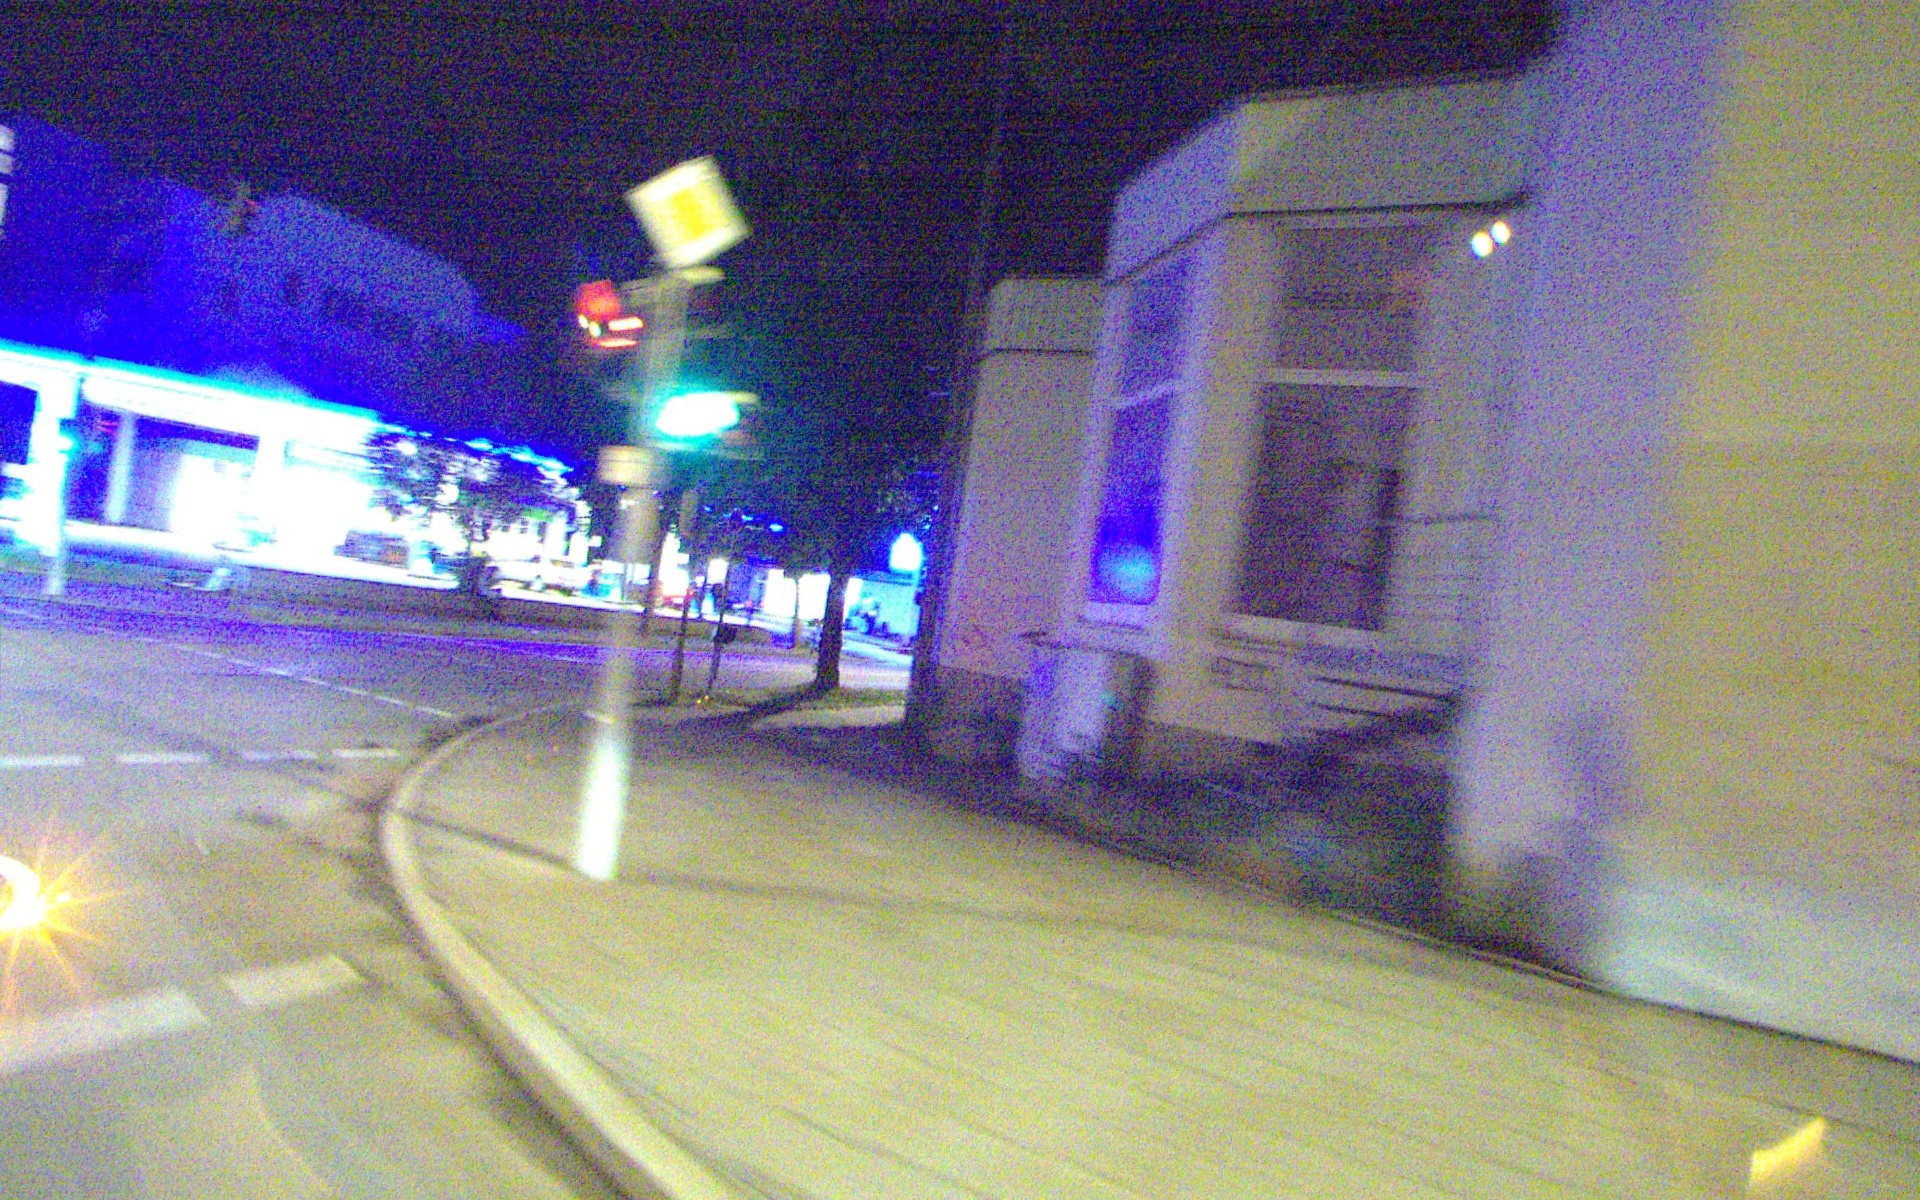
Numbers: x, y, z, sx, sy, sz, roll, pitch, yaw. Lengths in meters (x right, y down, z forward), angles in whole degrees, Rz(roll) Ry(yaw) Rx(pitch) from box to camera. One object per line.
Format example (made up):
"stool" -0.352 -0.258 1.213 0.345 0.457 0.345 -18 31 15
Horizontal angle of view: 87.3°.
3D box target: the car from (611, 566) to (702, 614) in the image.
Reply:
"car" -15.514 -0.531 51.406 3.927 1.682 2.001 10 0 24

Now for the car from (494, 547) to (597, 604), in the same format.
"car" -18.931 -1.128 45.974 4.177 1.789 1.999 10 0 29

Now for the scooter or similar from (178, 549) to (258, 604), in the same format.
"scooter or similar" -16.715 -0.524 22.715 0.705 1.105 1.677 8 -1 -12
